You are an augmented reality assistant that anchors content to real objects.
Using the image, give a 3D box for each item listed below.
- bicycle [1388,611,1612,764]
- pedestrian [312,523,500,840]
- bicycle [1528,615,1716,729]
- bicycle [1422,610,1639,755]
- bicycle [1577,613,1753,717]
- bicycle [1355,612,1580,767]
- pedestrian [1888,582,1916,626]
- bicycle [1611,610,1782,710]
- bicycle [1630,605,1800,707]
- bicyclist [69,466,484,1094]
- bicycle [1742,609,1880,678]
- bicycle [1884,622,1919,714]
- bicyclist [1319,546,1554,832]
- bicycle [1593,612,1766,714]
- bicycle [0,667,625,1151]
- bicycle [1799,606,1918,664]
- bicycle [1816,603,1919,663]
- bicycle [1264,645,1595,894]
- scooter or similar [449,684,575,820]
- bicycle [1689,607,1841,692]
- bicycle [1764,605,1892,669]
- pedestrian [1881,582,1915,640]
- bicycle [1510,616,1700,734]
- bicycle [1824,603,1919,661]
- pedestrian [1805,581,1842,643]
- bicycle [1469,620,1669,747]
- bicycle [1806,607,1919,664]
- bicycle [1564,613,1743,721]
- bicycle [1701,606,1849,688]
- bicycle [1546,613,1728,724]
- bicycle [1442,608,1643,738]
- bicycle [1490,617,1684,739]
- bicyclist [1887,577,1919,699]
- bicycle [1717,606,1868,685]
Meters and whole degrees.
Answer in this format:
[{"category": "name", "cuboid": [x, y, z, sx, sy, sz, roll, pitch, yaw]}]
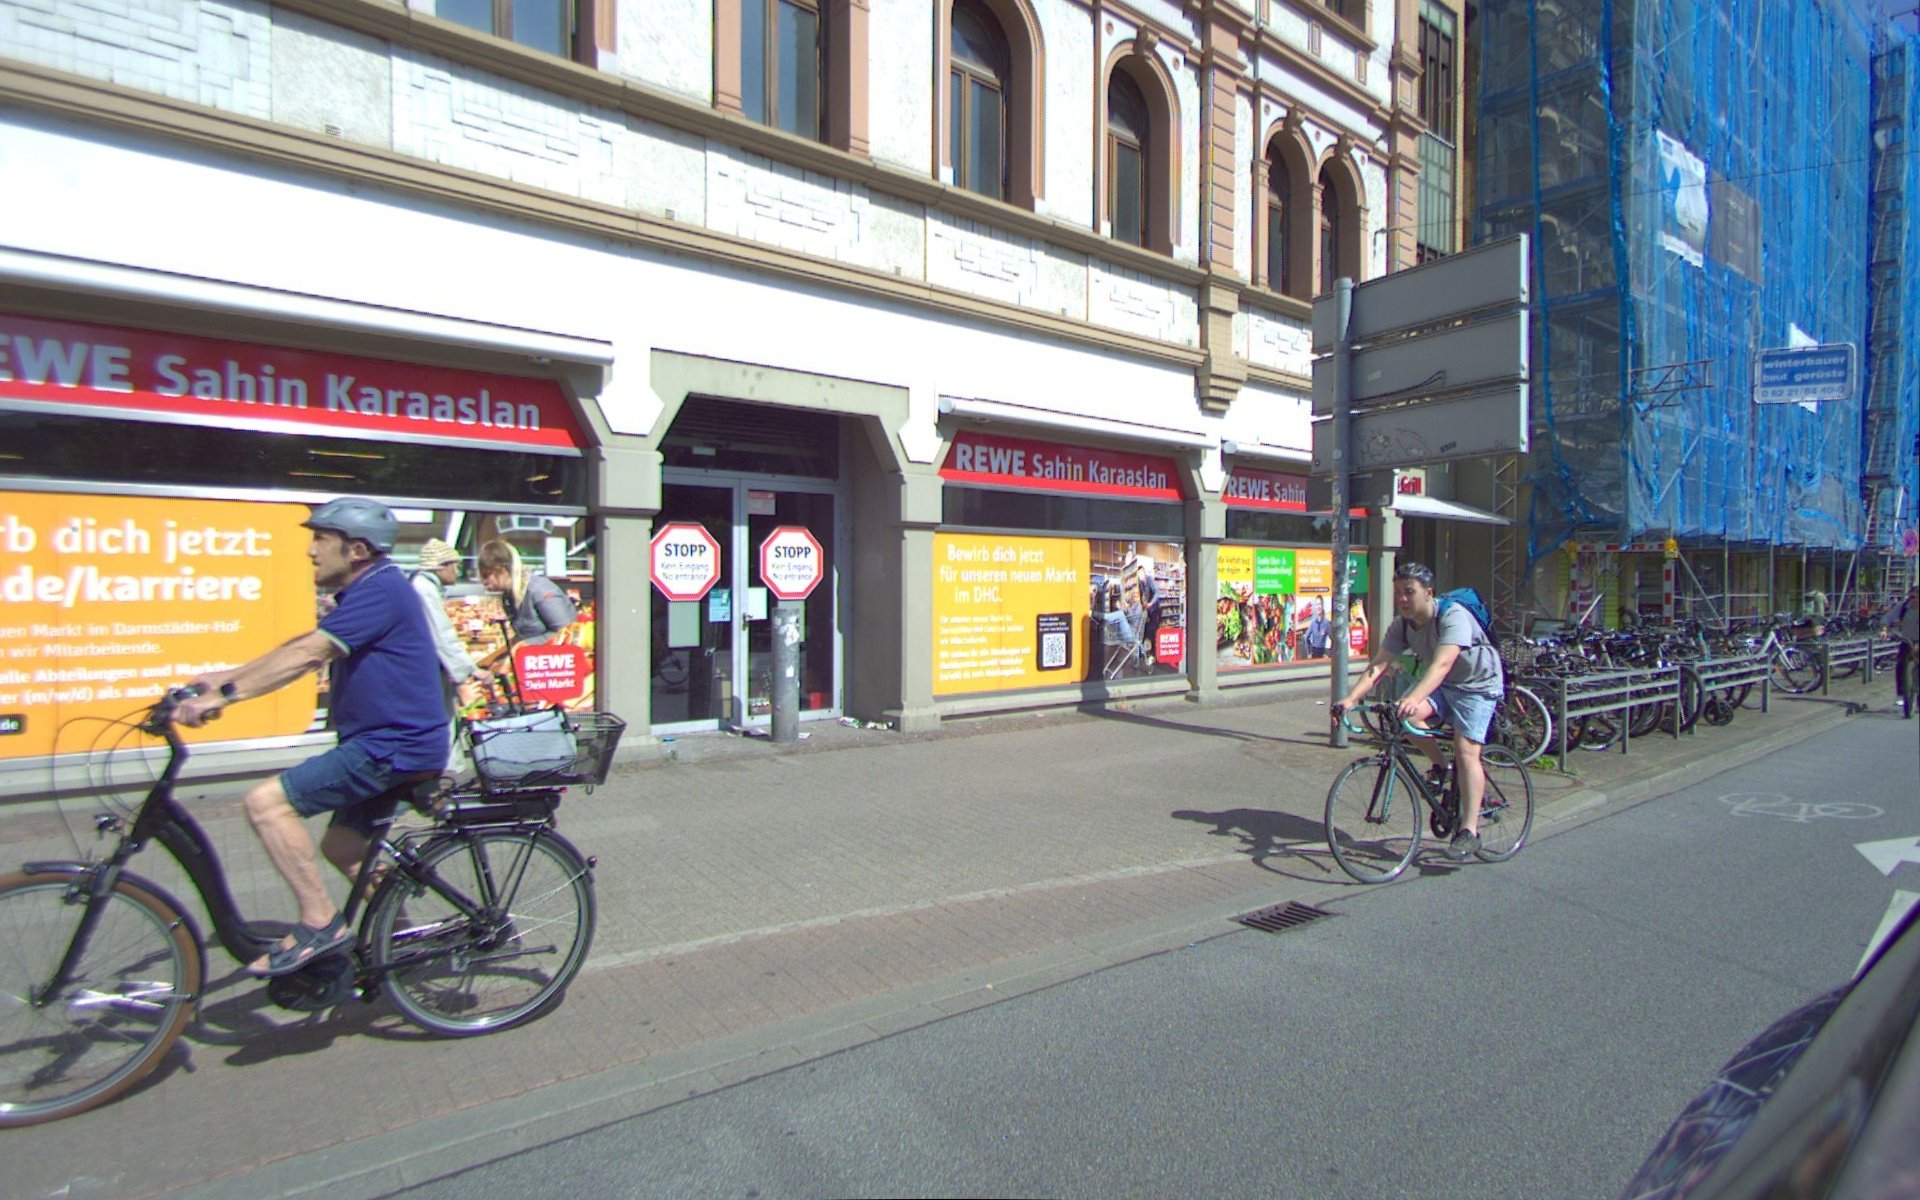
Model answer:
[{"category": "bicycle", "cuboid": [4.941, 0.747, 9.364, 0.597, 1.193, 1.698, 0, 2, -38]}, {"category": "pedestrian", "cuboid": [-3.223, 0.402, 5.888, 0.822, 1.675, 0.757, -2, 4, -40]}, {"category": "bicycle", "cuboid": [7.476, 0.773, 11.506, 0.504, 1.193, 1.697, -1, 0, -38]}, {"category": "bicycle", "cuboid": [5.448, 0.737, 9.759, 0.597, 1.193, 1.698, 0, 2, -38]}, {"category": "bicycle", "cuboid": [8.647, 0.759, 12.479, 0.443, 1.193, 1.697, -1, 0, -38]}, {"category": "bicycle", "cuboid": [4.451, 0.727, 8.983, 0.597, 1.193, 1.698, 0, 1, -38]}, {"category": "pedestrian", "cuboid": [39.383, 0.146, 42.293, 0.966, 1.803, 0.670, -1, 1, -35]}, {"category": "bicycle", "cuboid": [9.484, 0.737, 13.090, 0.488, 1.193, 1.697, -1, 0, -38]}, {"category": "bicycle", "cuboid": [10.008, 0.708, 13.474, 0.597, 1.256, 1.697, -1, 0, -38]}, {"category": "bicyclist", "cuboid": [-2.016, 0.459, 3.125, 0.899, 1.637, 0.692, -1, -1, -20]}, {"category": "bicycle", "cuboid": [14.482, 0.720, 17.256, 0.597, 1.101, 1.697, -1, 0, -38]}, {"category": "bicycle", "cuboid": [12.875, 0.874, 13.360, 1.865, 1.107, 0.735, -1, -1, -41]}, {"category": "bicyclist", "cuboid": [2.751, 0.456, 5.846, 1.121, 1.481, 0.691, -1, -1, -33]}, {"category": "bicycle", "cuboid": [9.045, 0.751, 12.786, 0.482, 1.193, 1.697, -1, 0, -38]}, {"category": "bicycle", "cuboid": [-2.046, 0.824, 3.103, 1.871, 1.107, 0.738, -2, -1, -22]}, {"category": "bicycle", "cuboid": [18.057, 0.690, 20.367, 0.597, 1.111, 1.697, -1, 0, -38]}, {"category": "bicycle", "cuboid": [19.235, 0.680, 21.334, 0.597, 1.193, 1.697, -1, 0, -38]}, {"category": "bicycle", "cuboid": [2.760, 0.870, 5.857, 2.090, 1.107, 0.736, -2, -1, -34]}, {"category": "scooter or similar", "cuboid": [-2.793, 0.916, 6.299, 0.555, 0.657, 0.693, -2, 5, -39]}, {"category": "bicycle", "cuboid": [12.200, 0.722, 15.391, 0.597, 1.193, 1.697, -1, 0, -38]}, {"category": "bicycle", "cuboid": [16.379, 0.678, 19.134, 0.597, 1.123, 1.743, -1, 0, -38]}, {"category": "pedestrian", "cuboid": [29.545, 0.333, 31.881, 0.637, 1.799, 0.640, -1, -1, -39]}, {"category": "bicycle", "cuboid": [7.056, 0.777, 11.147, 0.451, 1.193, 1.697, -1, 0, -38]}, {"category": "bicycle", "cuboid": [19.753, 0.665, 21.762, 0.597, 1.193, 1.697, -1, 0, -38]}, {"category": "pedestrian", "cuboid": [23.058, 0.327, 27.013, 0.643, 1.622, 0.753, -3, -1, 45]}, {"category": "bicycle", "cuboid": [6.237, 0.810, 10.453, 0.461, 1.193, 1.697, -1, 0, -38]}, {"category": "bicycle", "cuboid": [18.588, 0.721, 20.833, 0.597, 1.111, 1.697, -1, 0, -38]}, {"category": "bicycle", "cuboid": [8.284, 0.761, 12.158, 0.455, 1.193, 1.697, -1, 0, -38]}, {"category": "bicycle", "cuboid": [12.740, 0.705, 15.857, 0.597, 1.193, 1.697, -1, 0, -38]}, {"category": "bicycle", "cuboid": [7.883, 0.759, 11.850, 0.449, 1.193, 1.697, -1, 0, -38]}, {"category": "bicycle", "cuboid": [5.831, 0.691, 10.223, 0.461, 1.193, 1.697, -1, 0, -38]}, {"category": "bicycle", "cuboid": [6.647, 0.784, 10.814, 0.451, 1.193, 1.697, -1, 0, -38]}, {"category": "bicyclist", "cuboid": [12.906, 0.488, 13.420, 0.764, 1.597, 0.750, -1, -1, -40]}, {"category": "bicycle", "cuboid": [13.397, 0.707, 16.332, 0.597, 1.193, 1.775, -1, 0, -38]}]
